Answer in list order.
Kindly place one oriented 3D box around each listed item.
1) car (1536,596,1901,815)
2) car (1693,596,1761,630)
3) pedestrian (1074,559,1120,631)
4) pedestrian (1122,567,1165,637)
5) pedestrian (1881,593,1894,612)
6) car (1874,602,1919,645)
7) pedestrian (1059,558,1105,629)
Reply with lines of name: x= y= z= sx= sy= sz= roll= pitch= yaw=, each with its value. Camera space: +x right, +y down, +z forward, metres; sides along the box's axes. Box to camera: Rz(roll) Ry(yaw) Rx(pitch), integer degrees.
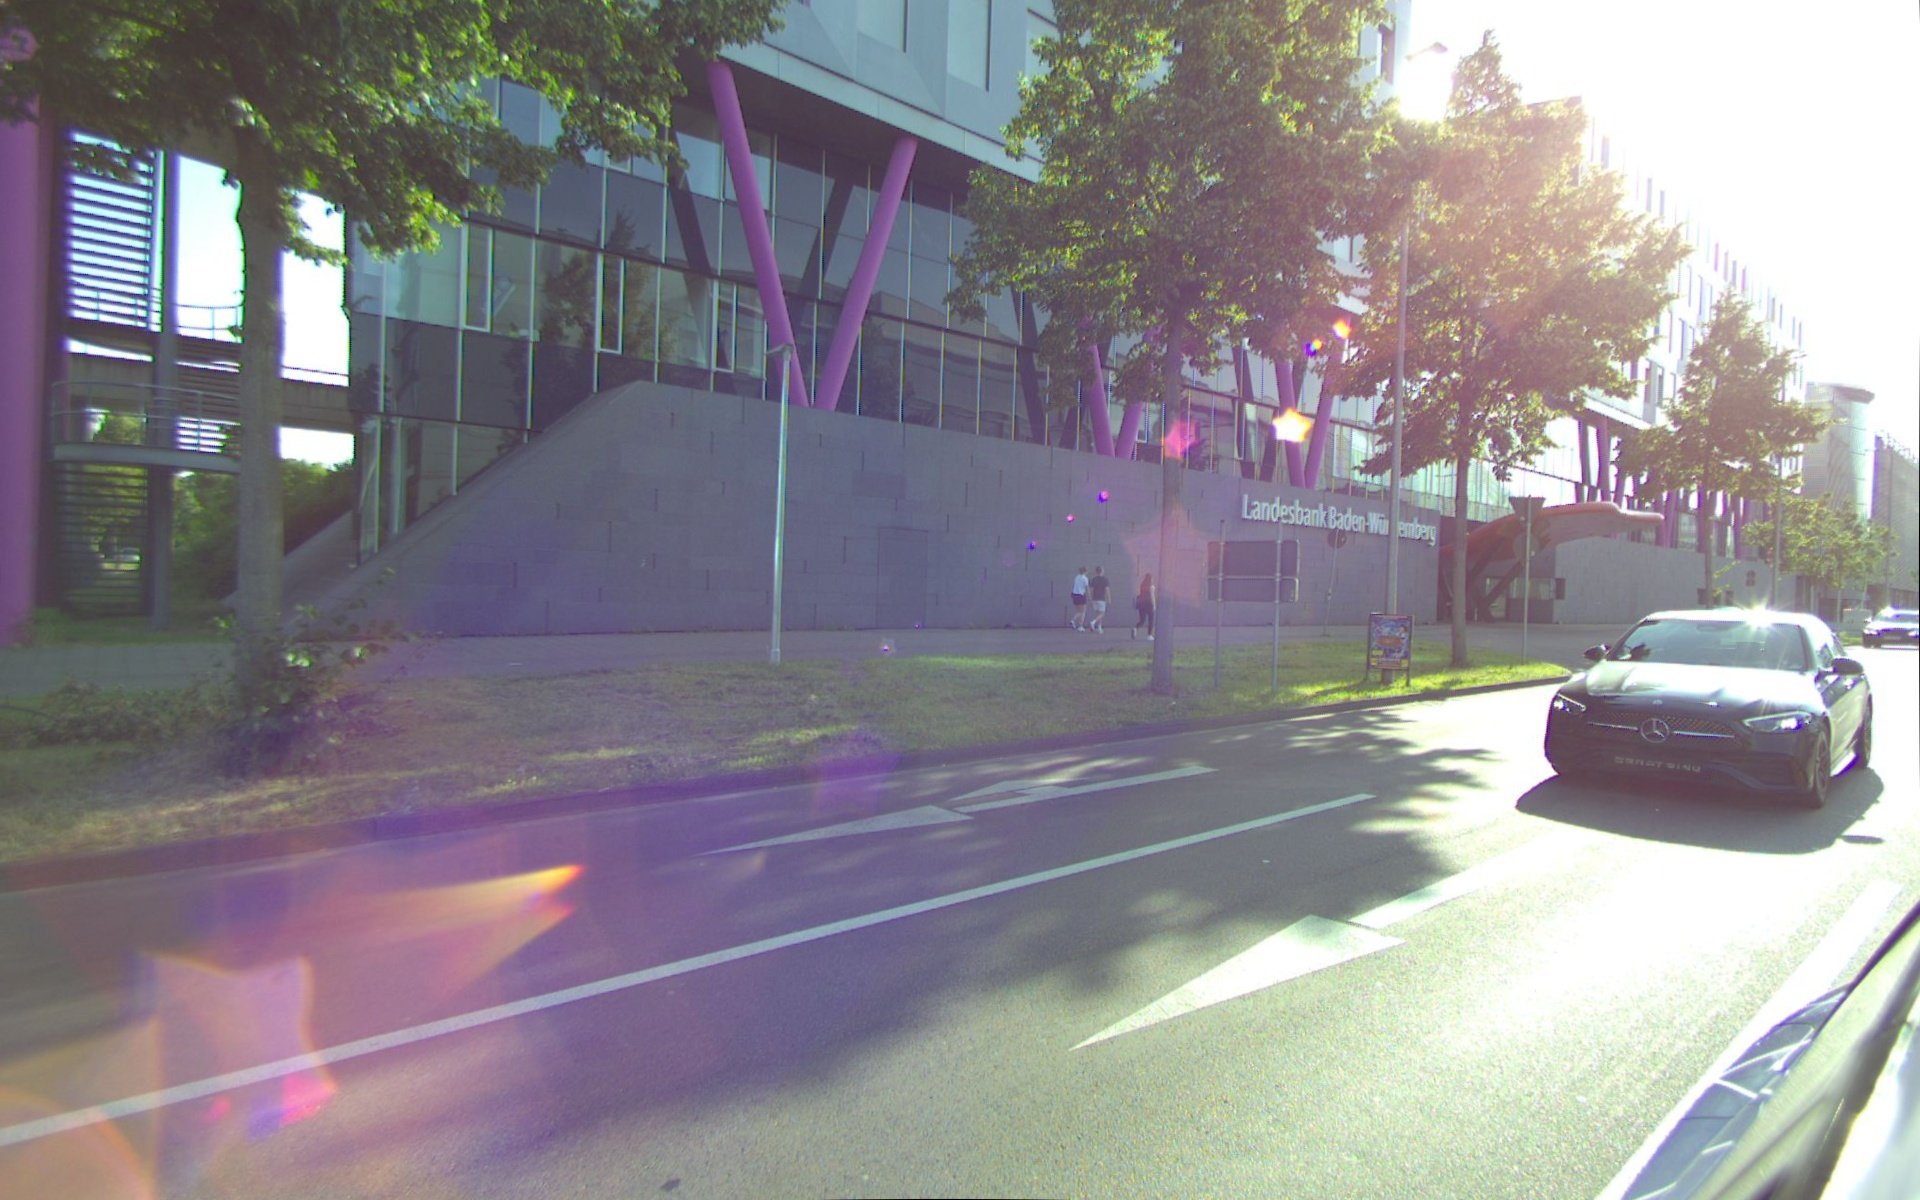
car: x=6.965 y=0.744 z=9.088 sx=4.478 sy=1.468 sz=1.841 roll=1 pitch=0 yaw=-43
car: x=34.776 y=0.597 z=45.849 sx=4.126 sy=1.407 sz=1.694 roll=1 pitch=1 yaw=-42
pedestrian: x=3.572 y=-0.128 z=26.478 sx=0.829 sy=1.815 sz=0.756 roll=1 pitch=3 yaw=-41
pedestrian: x=4.469 y=0.032 z=24.632 sx=0.724 sy=1.659 sz=0.695 roll=1 pitch=1 yaw=-41
pedestrian: x=87.246 y=0.230 z=95.184 sx=0.758 sy=1.808 sz=0.725 roll=1 pitch=1 yaw=-41
car: x=36.622 y=0.867 z=38.898 sx=4.399 sy=1.444 sz=1.892 roll=-2 pitch=2 yaw=-43
pedestrian: x=3.243 y=-0.181 z=26.978 sx=0.838 sy=1.847 sz=0.769 roll=1 pitch=3 yaw=-41
